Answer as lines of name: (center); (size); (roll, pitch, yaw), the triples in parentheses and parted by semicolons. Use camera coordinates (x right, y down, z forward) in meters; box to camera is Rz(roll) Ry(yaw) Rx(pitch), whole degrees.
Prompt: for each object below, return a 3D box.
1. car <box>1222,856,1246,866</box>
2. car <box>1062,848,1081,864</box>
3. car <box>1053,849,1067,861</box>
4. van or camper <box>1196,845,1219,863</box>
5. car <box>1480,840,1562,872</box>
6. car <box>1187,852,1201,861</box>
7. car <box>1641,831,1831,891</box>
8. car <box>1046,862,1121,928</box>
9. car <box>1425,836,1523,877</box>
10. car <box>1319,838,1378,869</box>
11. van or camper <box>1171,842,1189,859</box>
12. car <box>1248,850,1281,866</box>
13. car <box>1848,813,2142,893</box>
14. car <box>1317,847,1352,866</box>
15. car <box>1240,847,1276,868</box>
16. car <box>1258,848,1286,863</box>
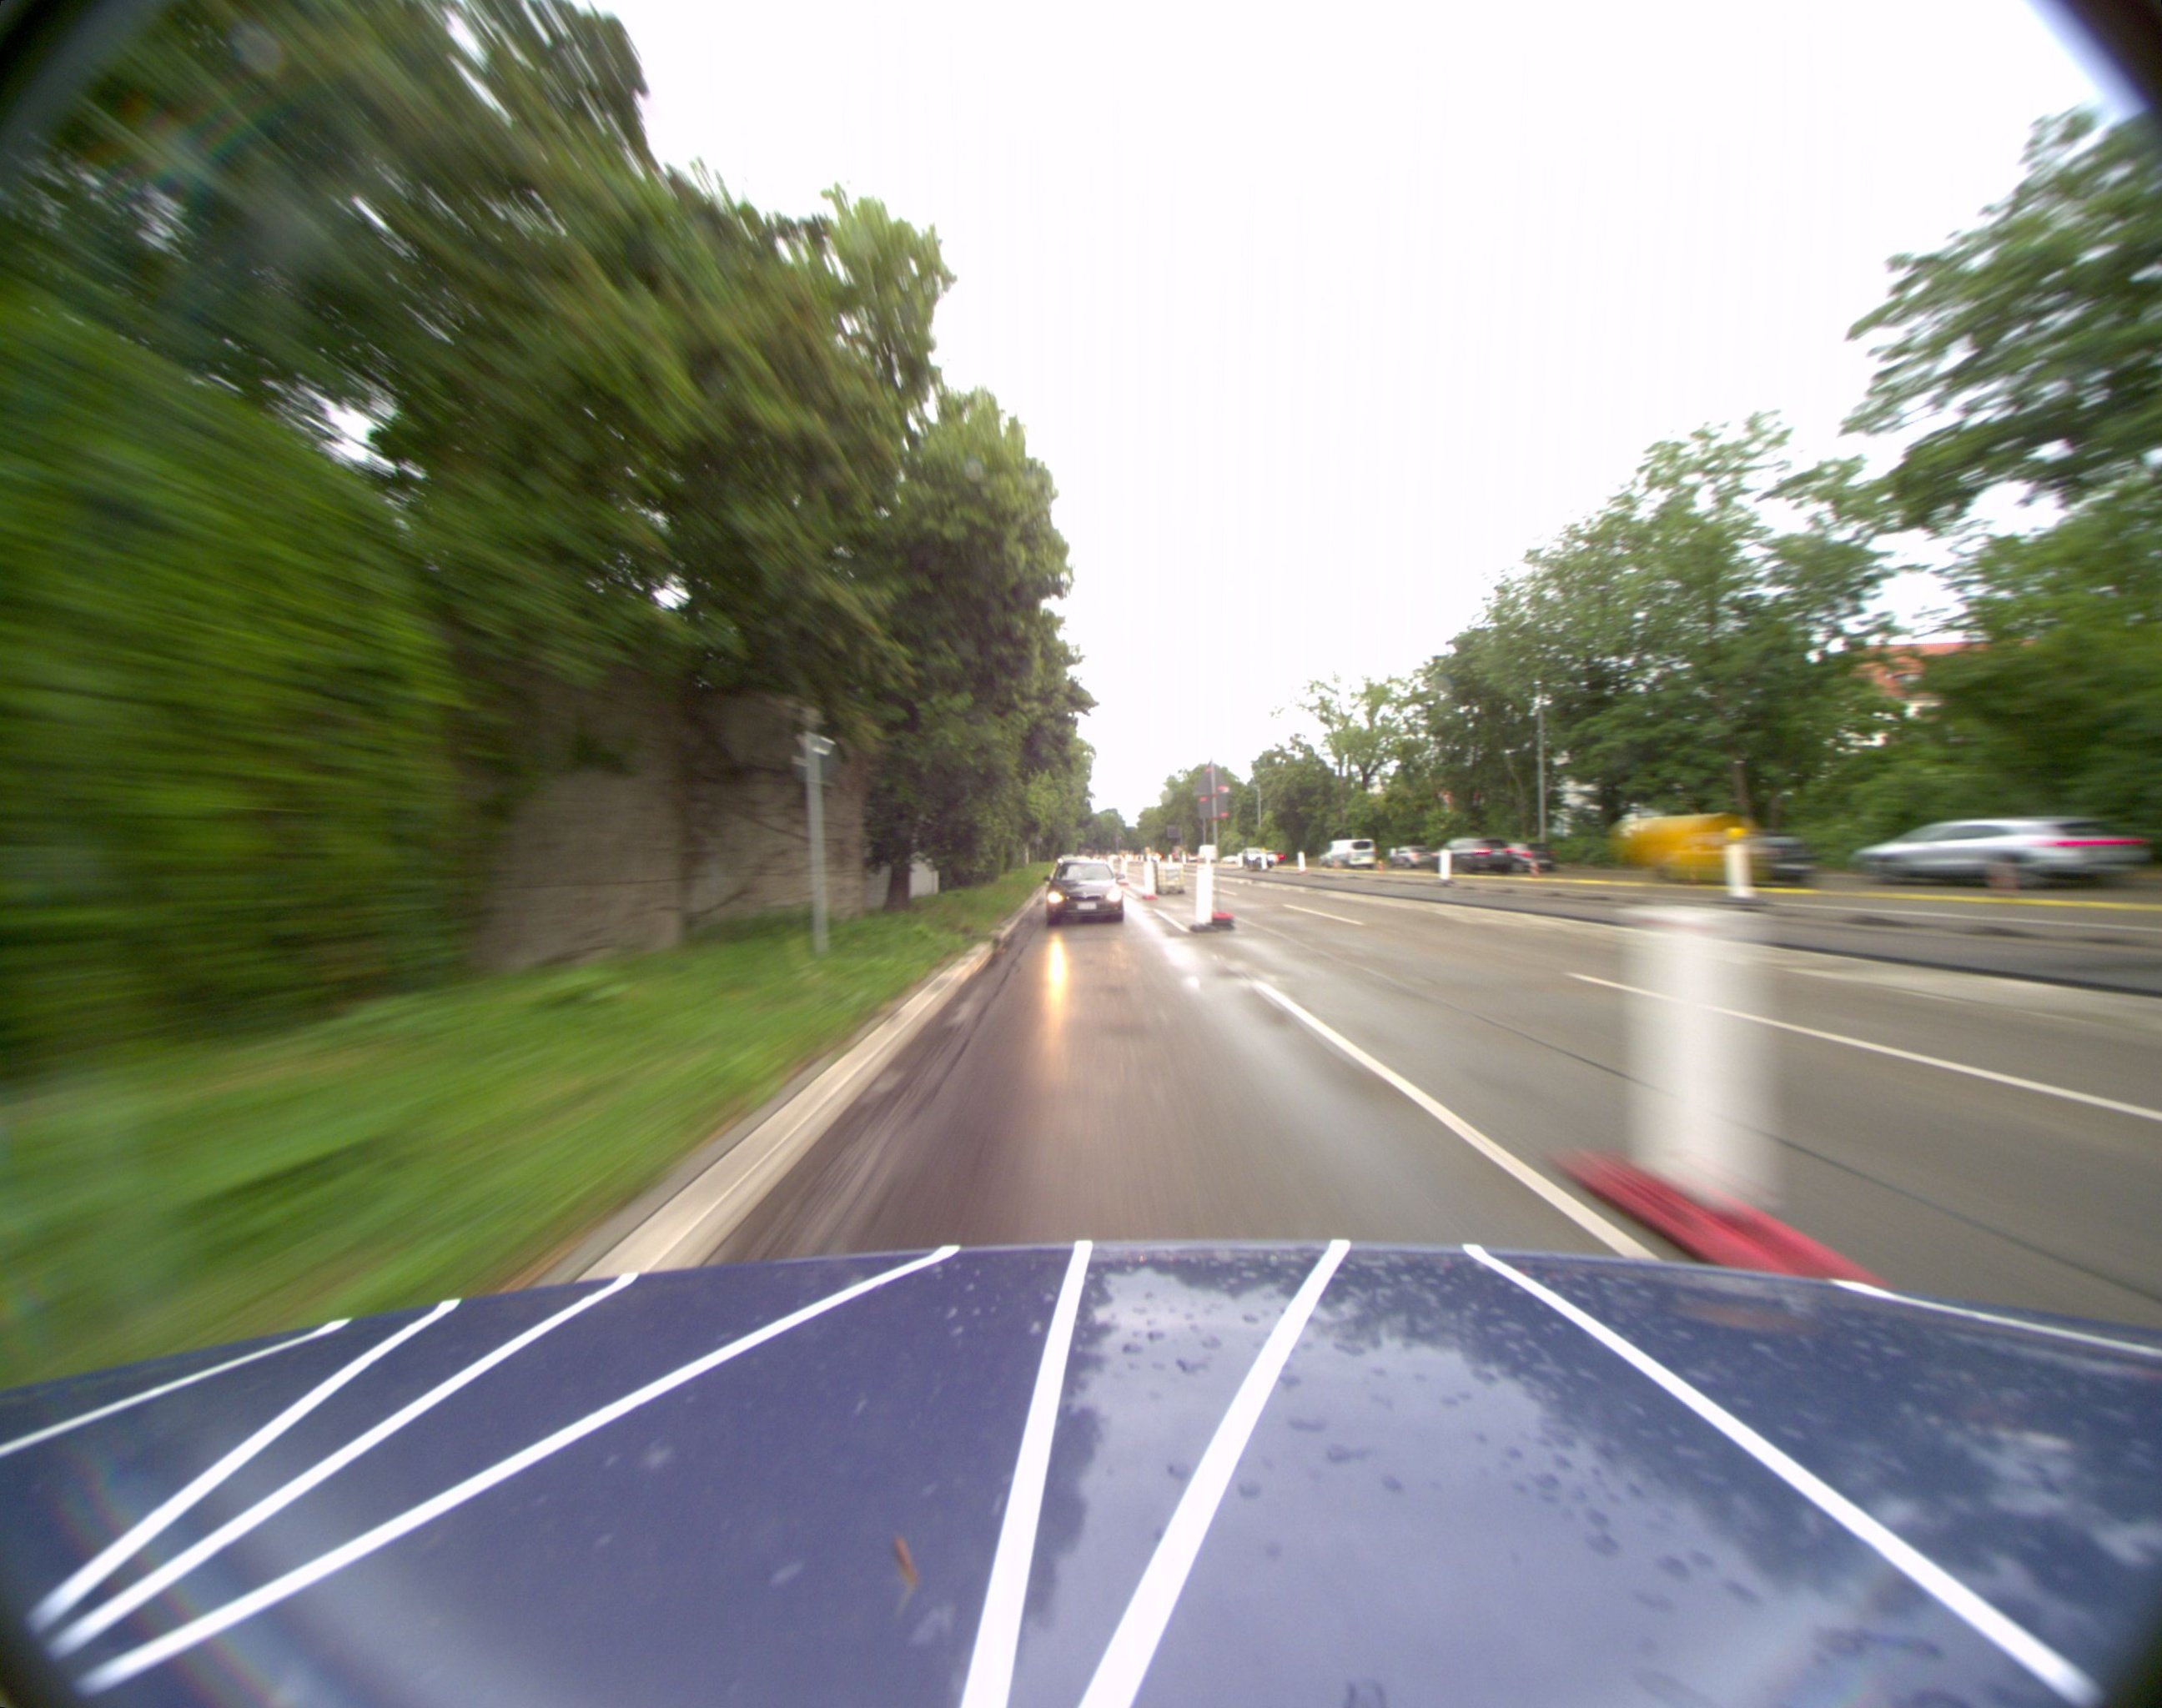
car: (19.774, 0.905, 98.409); (1.694, 1.176, 3.997); (-3, 0, -10)
car: (-1.063, 0.248, 86.458); (1.998, 1.707, 4.000); (-1, 0, 1)
car: (-3.157, 0.151, 115.114); (1.998, 1.707, 4.000); (-1, 0, 1)
van or camper: (19.230, 0.009, 115.822); (1.999, 2.540, 7.729); (-3, 0, -1)
car: (21.283, 0.100, 36.913); (1.649, 1.412, 4.000); (-2, 0, 1)
car: (19.048, 0.421, 128.180); (1.720, 1.356, 4.081); (-1, 0, 0)
car: (18.548, 0.177, 21.826); (1.781, 1.479, 4.196); (-2, 0, 0)
car: (0.006, 0.934, 18.903); (1.658, 1.409, 4.128); (-1, 0, -1)
car: (18.533, 0.105, 36.105); (2.026, 1.715, 5.012); (-3, 0, 0)
car: (17.998, -0.024, 51.330); (1.999, 1.960, 4.902); (-3, 0, -2)
van or camper: (19.142, -0.633, 146.993); (2.303, 3.045, 7.451); (-2, 0, -2)
car: (17.653, 0.355, 73.331); (1.999, 1.407, 4.392); (-1, 0, -3)
car: (21.545, -0.021, 18.267); (1.707, 1.617, 4.418); (-3, 0, 0)
car: (20.835, 0.213, 62.577); (1.683, 1.392, 3.639); (-2, 0, 0)
car: (14.774, 0.243, 63.748); (1.998, 1.619, 4.812); (-2, 0, 2)
car: (20.492, 0.167, 81.813); (1.733, 1.467, 4.486); (-2, 0, -2)
